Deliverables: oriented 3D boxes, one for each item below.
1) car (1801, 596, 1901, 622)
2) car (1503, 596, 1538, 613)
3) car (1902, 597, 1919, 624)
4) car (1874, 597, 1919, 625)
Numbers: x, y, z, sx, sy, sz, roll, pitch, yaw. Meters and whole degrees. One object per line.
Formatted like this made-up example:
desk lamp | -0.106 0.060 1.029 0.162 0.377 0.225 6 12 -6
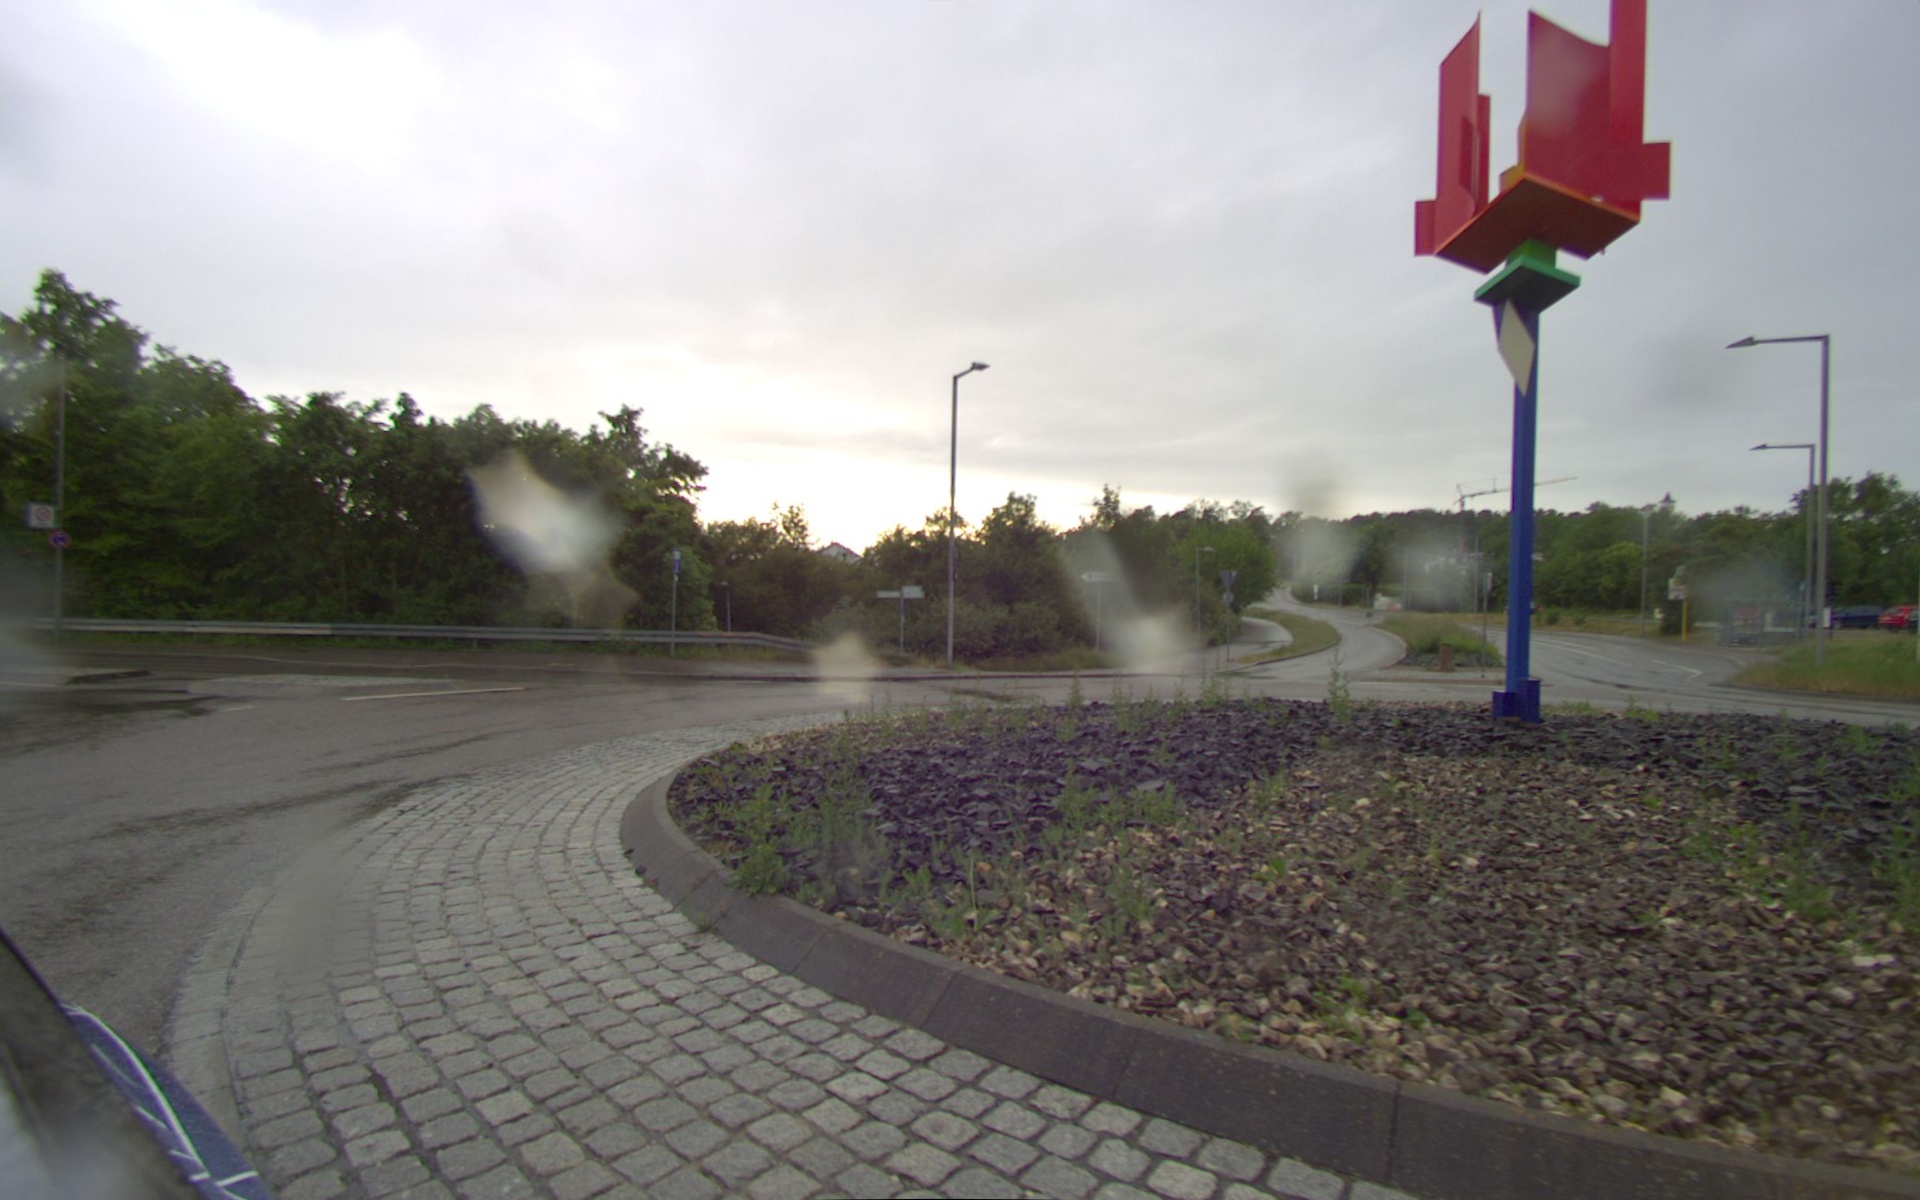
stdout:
car | 52.779 0.544 60.036 3.964 1.374 1.890 -2 0 16
car | 54.055 0.462 97.635 1.679 1.580 4.524 -2 -1 12
car | 51.163 0.580 51.710 3.964 1.374 1.838 1 1 16
car | 52.410 0.616 54.732 3.962 1.480 1.839 1 1 14
